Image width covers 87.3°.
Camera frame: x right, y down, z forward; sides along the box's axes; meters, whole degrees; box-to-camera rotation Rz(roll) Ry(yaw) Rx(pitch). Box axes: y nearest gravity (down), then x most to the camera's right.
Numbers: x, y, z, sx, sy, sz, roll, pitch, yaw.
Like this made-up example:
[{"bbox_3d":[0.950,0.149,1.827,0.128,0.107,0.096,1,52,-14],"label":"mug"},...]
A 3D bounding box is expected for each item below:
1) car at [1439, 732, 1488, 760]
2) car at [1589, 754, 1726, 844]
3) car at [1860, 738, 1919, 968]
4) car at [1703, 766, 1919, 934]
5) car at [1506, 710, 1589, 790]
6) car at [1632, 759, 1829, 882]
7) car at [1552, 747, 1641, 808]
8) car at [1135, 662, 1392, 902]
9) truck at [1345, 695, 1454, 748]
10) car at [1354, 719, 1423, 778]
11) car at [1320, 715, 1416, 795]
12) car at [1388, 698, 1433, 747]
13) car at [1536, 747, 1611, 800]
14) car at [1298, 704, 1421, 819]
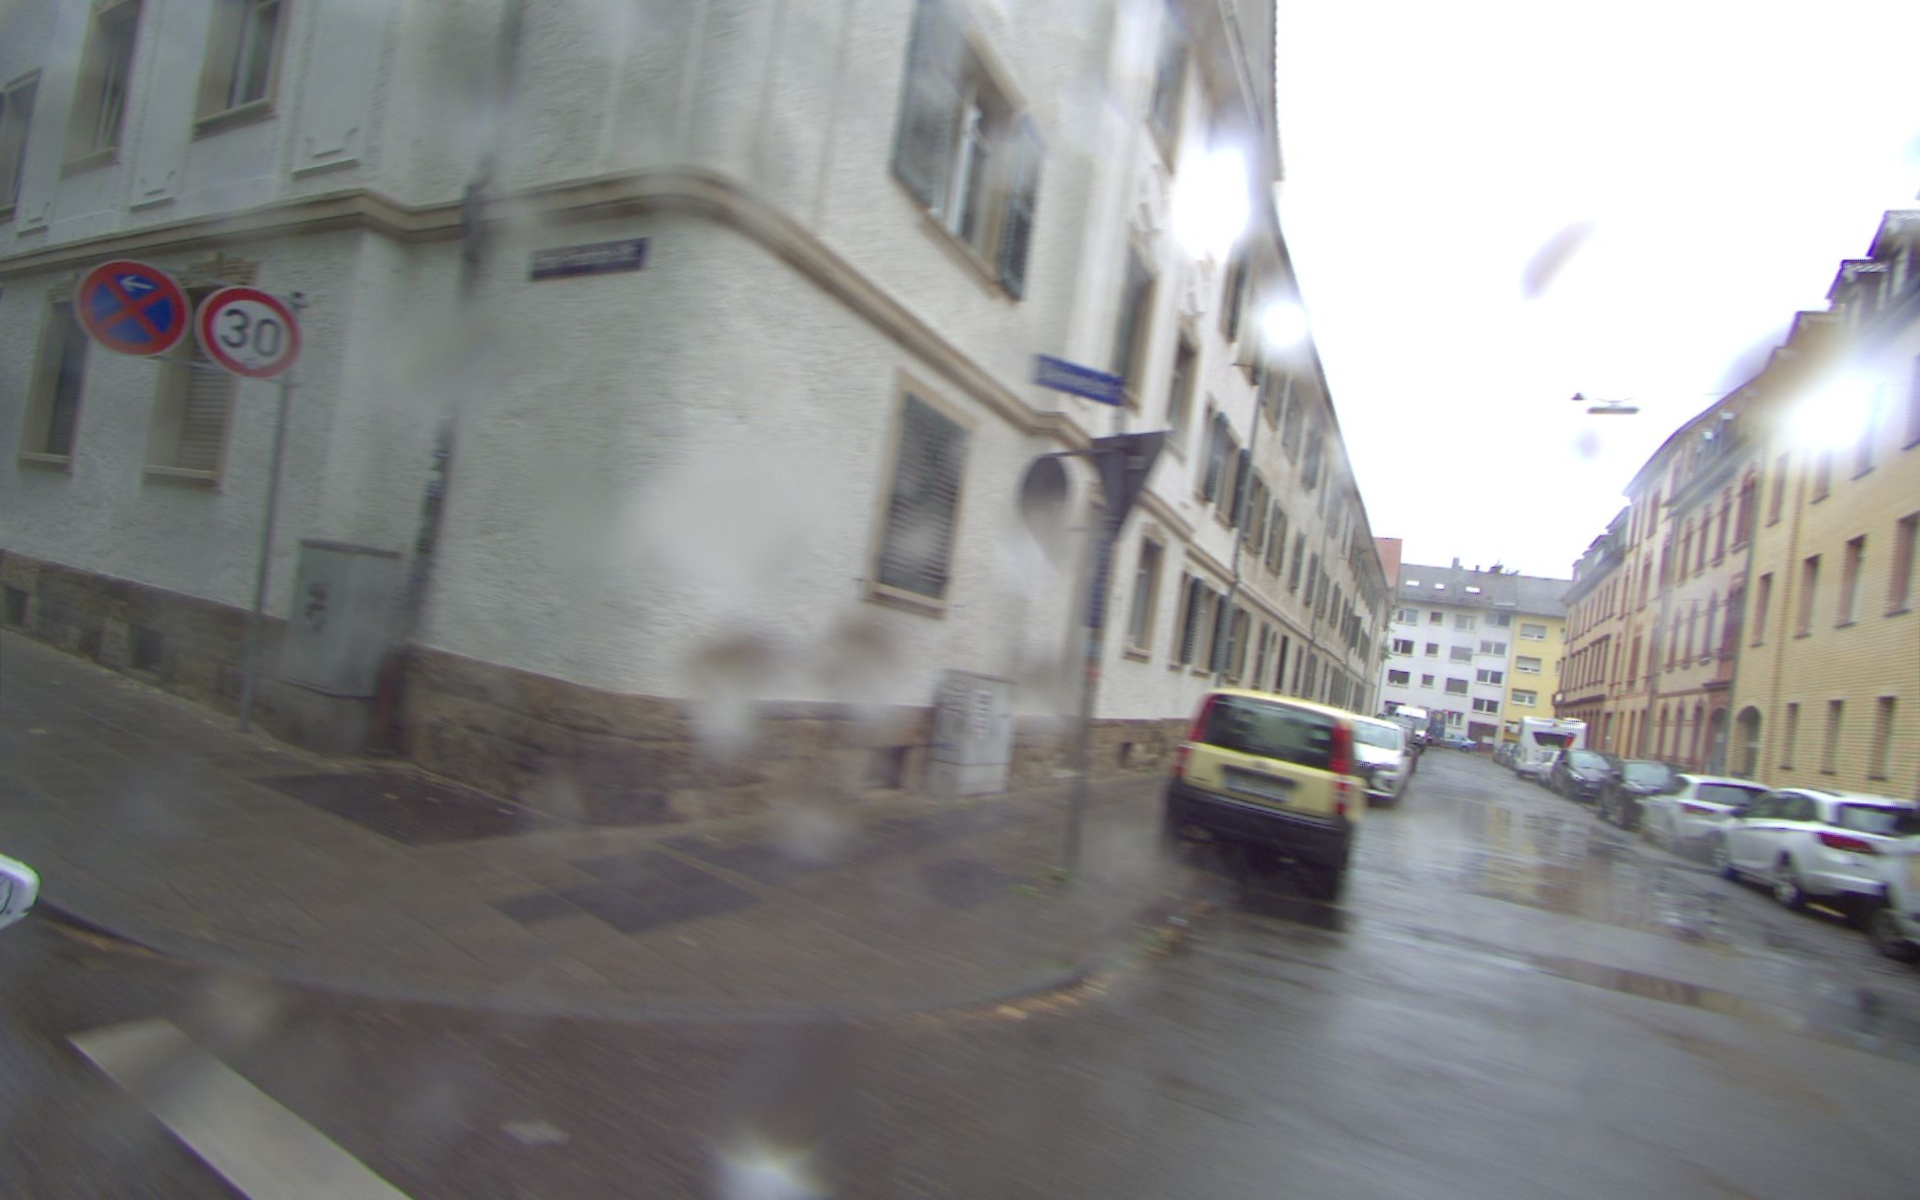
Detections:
[{"bbox_3d":[41.763,12.114,83.545,3.375,1.585,1.743,11,-1,27],"label":"car"},{"bbox_3d":[16.332,4.596,23.784,1.900,1.502,4.244,7,-3,27],"label":"car"},{"bbox_3d":[8.870,2.165,7.620,1.900,1.964,4.244,5,-4,27],"label":"car"},{"bbox_3d":[11.353,3.124,12.907,1.899,1.502,4.246,7,-3,24],"label":"car"},{"bbox_3d":[25.608,6.499,44.060,2.306,2.900,5.756,7,-3,26],"label":"car"},{"bbox_3d":[13.770,3.858,18.274,1.900,1.502,4.244,7,-3,27],"label":"car"},{"bbox_3d":[21.072,5.846,33.468,1.900,1.502,4.244,7,-3,27],"label":"car"},{"bbox_3d":[3.005,1.580,9.464,1.686,1.502,3.370,11,-2,24],"label":"car"},{"bbox_3d":[35.667,9.806,82.030,2.727,2.999,8.321,10,-3,-21],"label":"truck"},{"bbox_3d":[14.024,4.802,32.822,1.687,1.424,4.003,11,-2,26],"label":"car"},{"bbox_3d":[9.814,3.644,24.032,1.687,1.407,3.733,11,-2,26],"label":"car"},{"bbox_3d":[26.254,7.138,58.642,1.957,2.350,4.361,11,-2,25],"label":"car"},{"bbox_3d":[23.355,6.557,38.448,1.900,1.502,4.244,7,-3,27],"label":"car"},{"bbox_3d":[7.736,3.022,19.300,1.687,1.640,3.733,11,-2,26],"label":"car"}]
